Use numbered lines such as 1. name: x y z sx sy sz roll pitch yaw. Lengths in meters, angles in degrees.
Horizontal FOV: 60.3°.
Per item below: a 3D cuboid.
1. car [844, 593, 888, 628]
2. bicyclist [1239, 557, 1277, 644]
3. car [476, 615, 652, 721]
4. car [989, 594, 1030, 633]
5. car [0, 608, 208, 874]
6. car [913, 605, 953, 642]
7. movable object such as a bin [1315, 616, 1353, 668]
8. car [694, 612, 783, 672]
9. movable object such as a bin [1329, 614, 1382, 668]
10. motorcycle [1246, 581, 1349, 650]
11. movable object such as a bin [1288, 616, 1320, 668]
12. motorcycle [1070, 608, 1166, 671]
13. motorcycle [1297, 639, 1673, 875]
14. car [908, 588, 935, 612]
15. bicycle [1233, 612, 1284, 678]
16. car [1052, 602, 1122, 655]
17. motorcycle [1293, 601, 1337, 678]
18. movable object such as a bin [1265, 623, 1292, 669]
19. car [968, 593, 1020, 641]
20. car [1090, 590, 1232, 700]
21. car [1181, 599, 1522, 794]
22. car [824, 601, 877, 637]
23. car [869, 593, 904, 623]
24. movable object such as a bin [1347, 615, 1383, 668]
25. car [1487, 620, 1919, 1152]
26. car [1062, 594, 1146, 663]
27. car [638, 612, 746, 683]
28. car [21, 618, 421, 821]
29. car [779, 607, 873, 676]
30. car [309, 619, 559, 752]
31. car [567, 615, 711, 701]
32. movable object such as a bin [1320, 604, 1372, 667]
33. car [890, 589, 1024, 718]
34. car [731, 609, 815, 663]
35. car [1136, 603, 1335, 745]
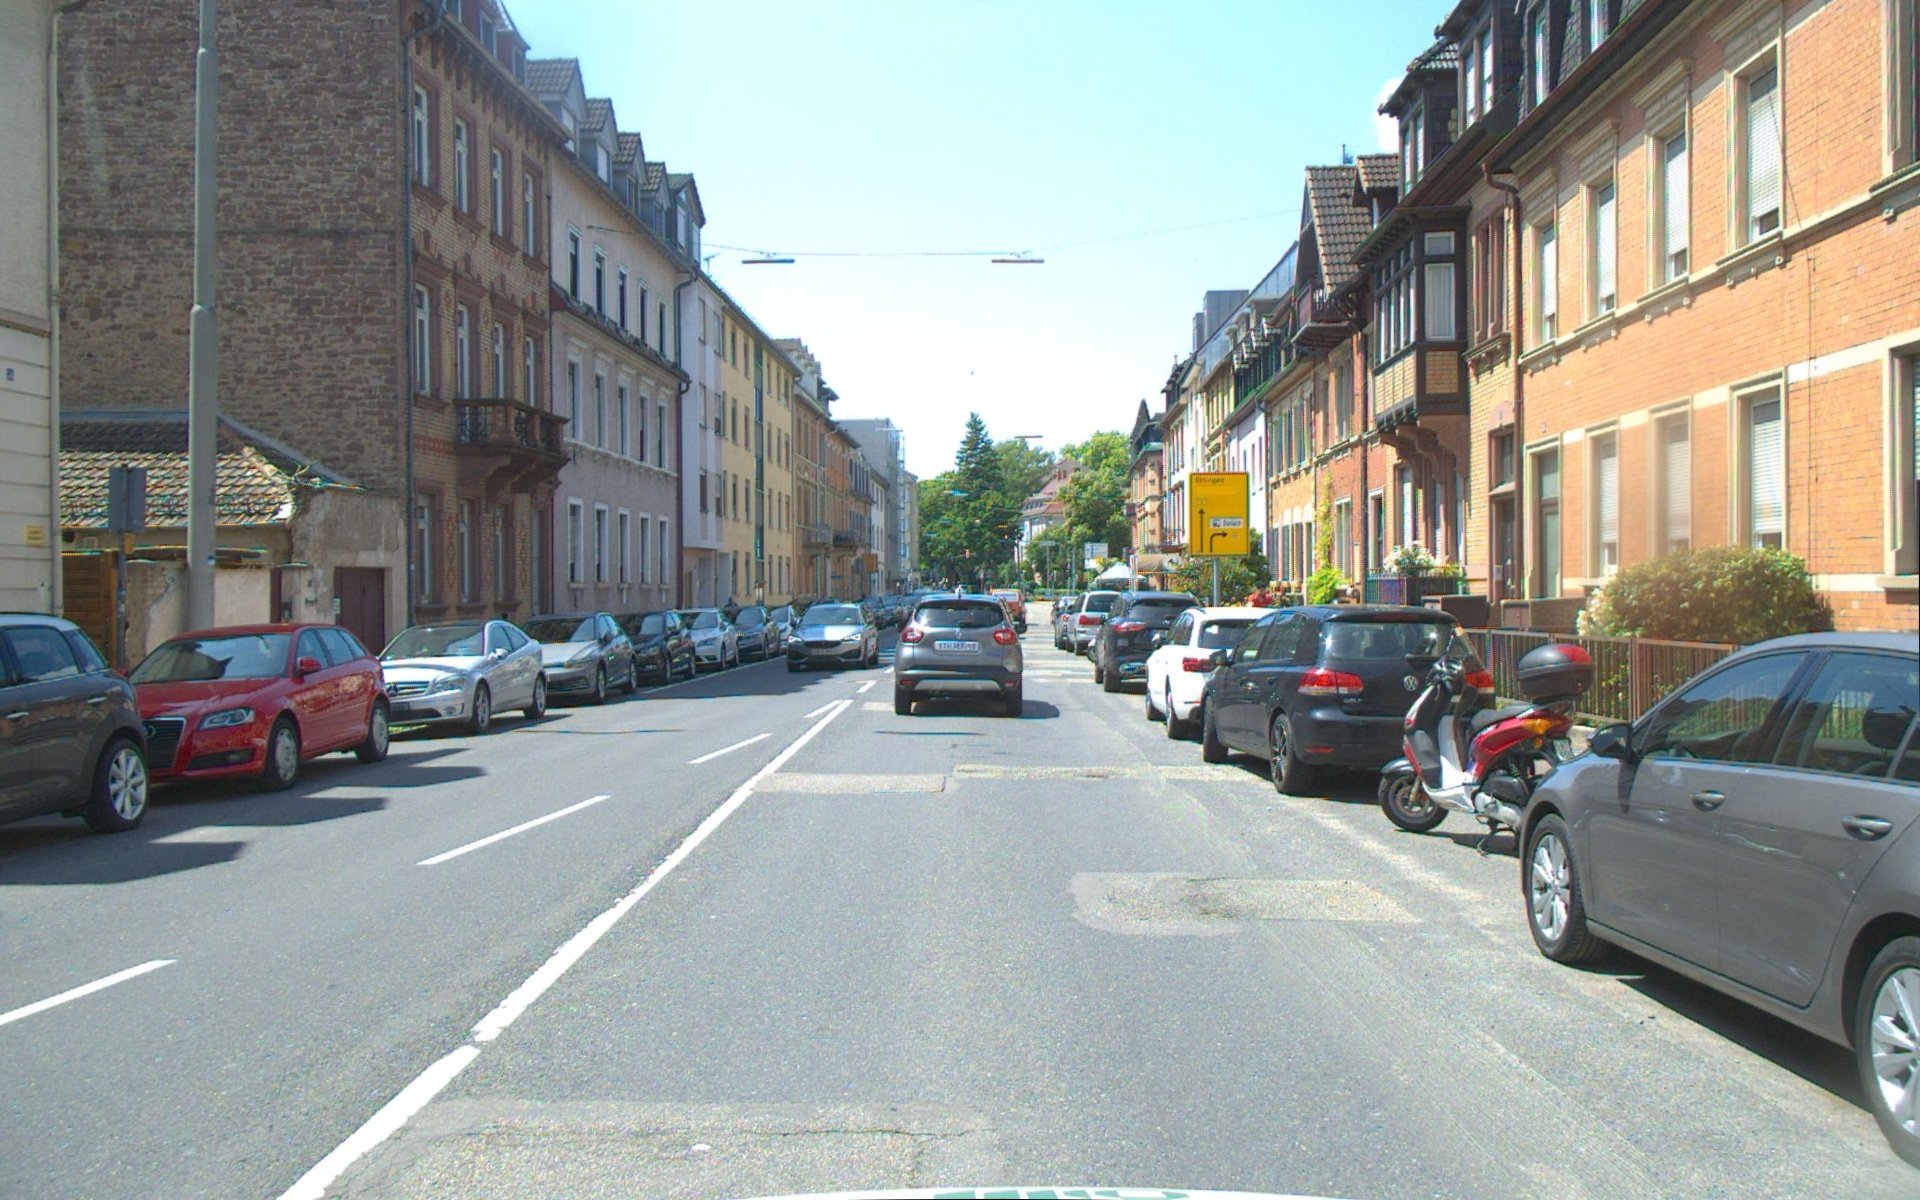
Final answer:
1. car: -4.754 0.536 84.103 1.865 1.648 4.303 -3 0 1
2. bicyclist: 5.211 0.006 28.941 0.521 1.495 0.791 -1 0 2
3. car: -6.542 1.072 27.829 1.803 1.447 4.501 -5 0 -1
4. car: 2.734 0.711 90.673 1.951 2.049 4.469 -2 0 5
5. car: -6.820 0.937 10.624 1.802 1.624 4.502 -4 0 0
6. car: -1.425 1.208 88.481 1.952 1.823 5.148 -2 0 0
7. movable object such as a bin: 7.949 0.894 35.158 0.645 1.073 0.749 -1 0 2
8. car: -5.945 1.090 44.884 1.802 1.447 4.645 -3 0 -1
9. movable object such as a bin: 6.930 0.714 29.010 0.772 0.923 0.539 -1 0 -2
10. motorcycle: 7.638 0.351 37.457 2.085 1.433 0.937 -3 0 0
11. movable object such as a bin: 7.322 0.889 35.201 0.545 1.094 0.727 -1 0 2
12. motorcycle: 3.693 0.904 38.638 1.959 1.410 1.107 0 0 40
13. motorcycle: 3.235 0.900 10.257 1.959 1.246 1.107 1 0 40
14. car: -3.122 -0.003 135.857 1.865 1.853 4.304 -1 0 3
15. bicycle: 5.215 0.774 28.980 0.581 1.085 1.883 -1 0 1
16. car: 3.915 0.852 51.652 1.822 1.513 4.309 1 0 0
17. motorcycle: 6.024 0.656 28.084 0.431 1.259 1.358 -2 0 1
18. movable object such as a bin: 6.780 0.967 35.196 0.471 0.957 0.526 -1 0 2
19. car: 1.251 0.622 62.427 1.775 1.649 4.441 -2 0 0
20. car: 3.371 0.718 28.565 1.952 1.691 4.626 -1 0 1
21. car: 3.225 0.722 14.577 1.616 1.439 4.497 0 0 -5
22. car: -4.902 0.835 74.707 1.865 1.425 4.756 -3 0 2
23. car: -4.244 0.456 95.821 1.867 1.648 4.300 -3 0 -2
24. movable object such as a bin: 8.608 0.867 35.148 0.596 1.095 0.761 -1 0 2
25. car: 3.394 0.792 5.810 1.666 1.405 4.165 0 0 -2
26. car: 3.983 0.751 46.437 1.823 1.778 4.617 1 0 -1
27. car: -6.242 1.072 38.953 1.802 1.447 4.501 -3 0 -1
28. car: -6.644 0.974 15.485 1.803 1.447 4.500 -4 0 -2
29. car: -2.991 0.898 37.748 1.754 1.445 4.314 -1 0 0
30. car: -6.813 1.042 21.964 1.802 1.447 4.502 -3 0 0
31. car: -6.415 1.111 33.564 1.802 1.447 4.503 -5 0 2
32. movable object such as a bin: 6.917 0.631 29.631 0.772 1.107 0.539 -1 0 -2
33. car: 0.007 0.698 23.353 1.708 1.645 4.001 1 0 1
34. car: -5.681 1.063 50.664 1.802 1.447 4.559 -4 0 2
35. car: 3.144 0.785 19.705 1.681 1.439 4.590 -1 0 1
